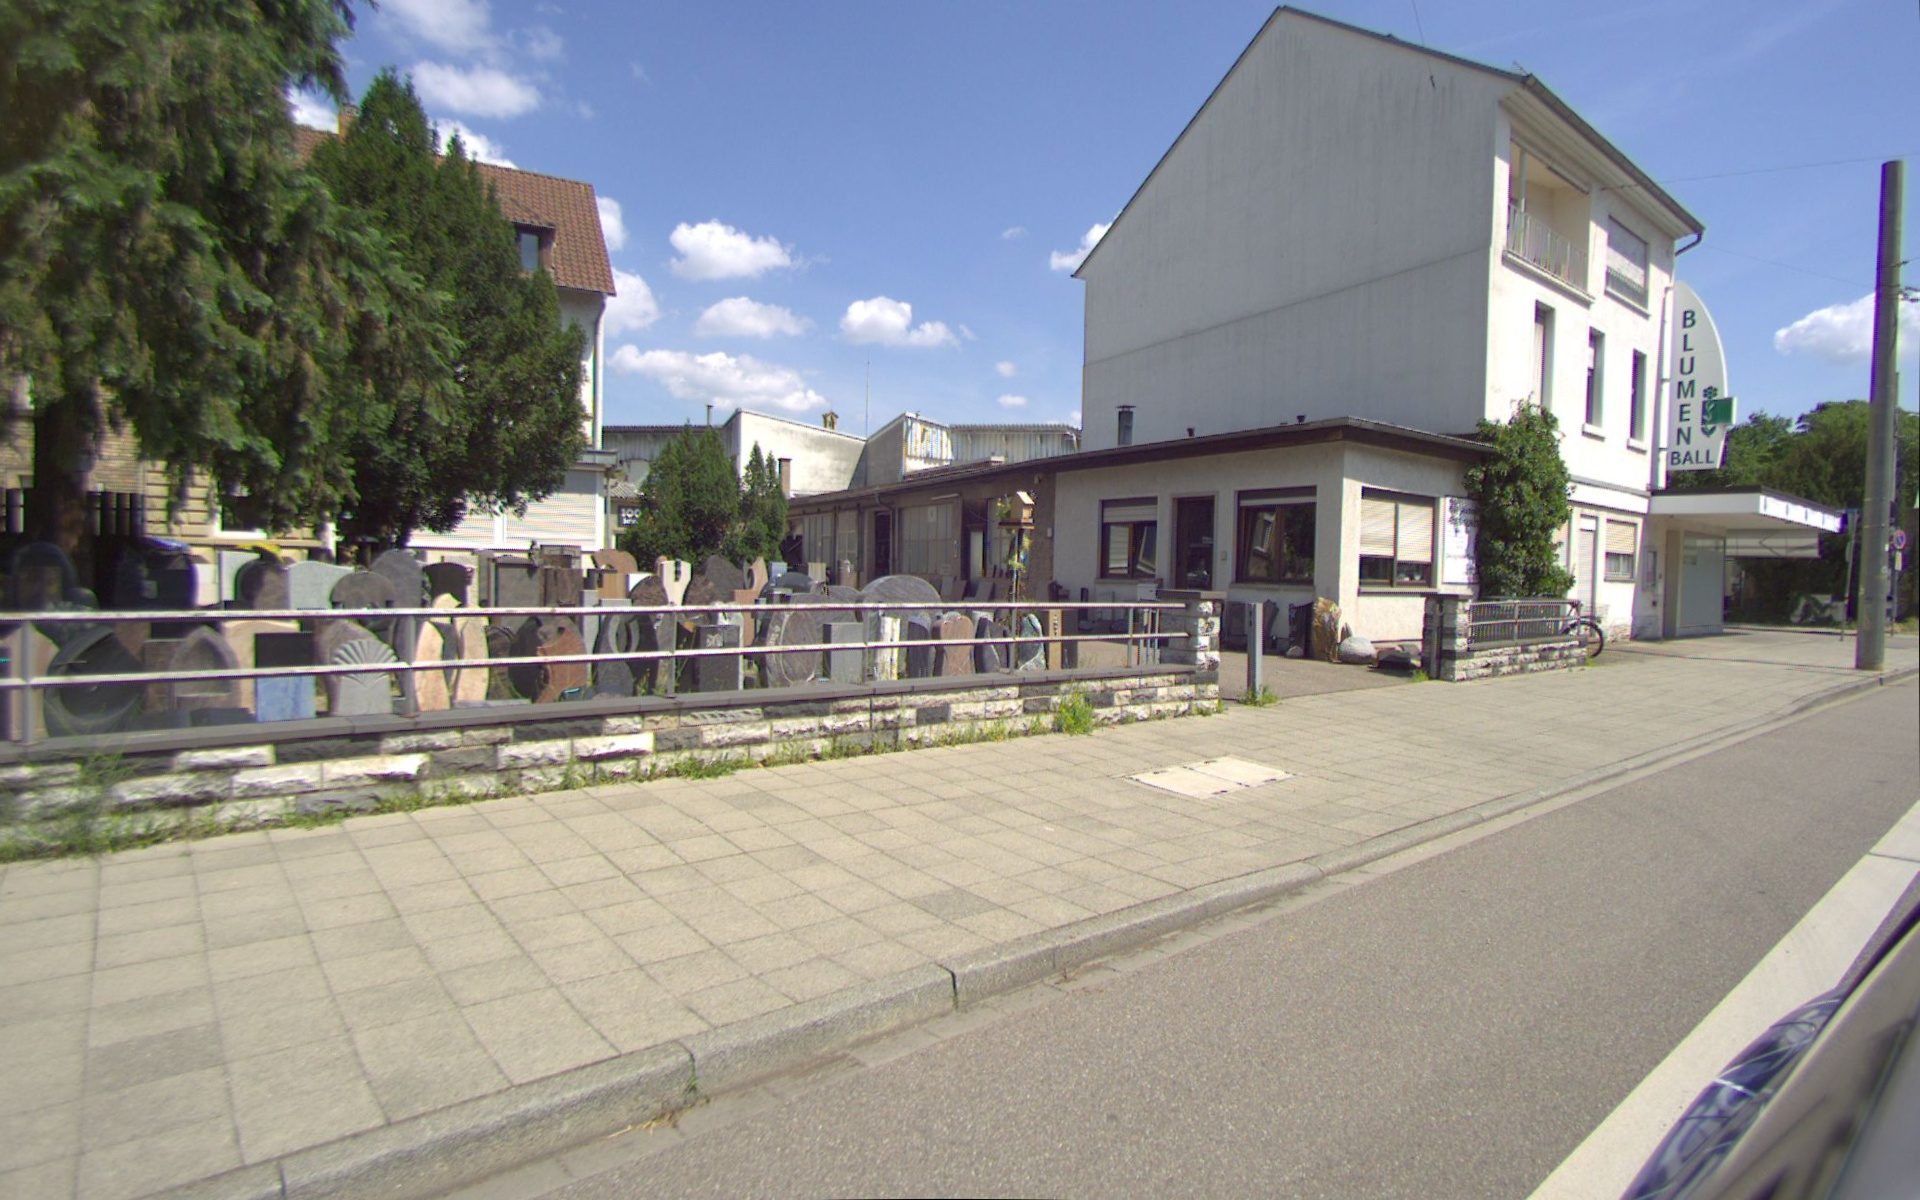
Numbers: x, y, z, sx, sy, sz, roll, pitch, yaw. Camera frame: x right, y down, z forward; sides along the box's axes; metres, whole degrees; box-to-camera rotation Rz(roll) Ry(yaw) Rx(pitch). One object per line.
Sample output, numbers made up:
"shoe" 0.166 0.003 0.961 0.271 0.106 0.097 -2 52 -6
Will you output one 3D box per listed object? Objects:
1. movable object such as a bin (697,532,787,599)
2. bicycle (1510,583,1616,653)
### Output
"movable object such as a bin" -7.822 -1.223 36.290 2.703 2.295 2.004 1 2 -27
"bicycle" 10.645 0.296 17.915 0.421 1.099 1.539 0 4 -34
